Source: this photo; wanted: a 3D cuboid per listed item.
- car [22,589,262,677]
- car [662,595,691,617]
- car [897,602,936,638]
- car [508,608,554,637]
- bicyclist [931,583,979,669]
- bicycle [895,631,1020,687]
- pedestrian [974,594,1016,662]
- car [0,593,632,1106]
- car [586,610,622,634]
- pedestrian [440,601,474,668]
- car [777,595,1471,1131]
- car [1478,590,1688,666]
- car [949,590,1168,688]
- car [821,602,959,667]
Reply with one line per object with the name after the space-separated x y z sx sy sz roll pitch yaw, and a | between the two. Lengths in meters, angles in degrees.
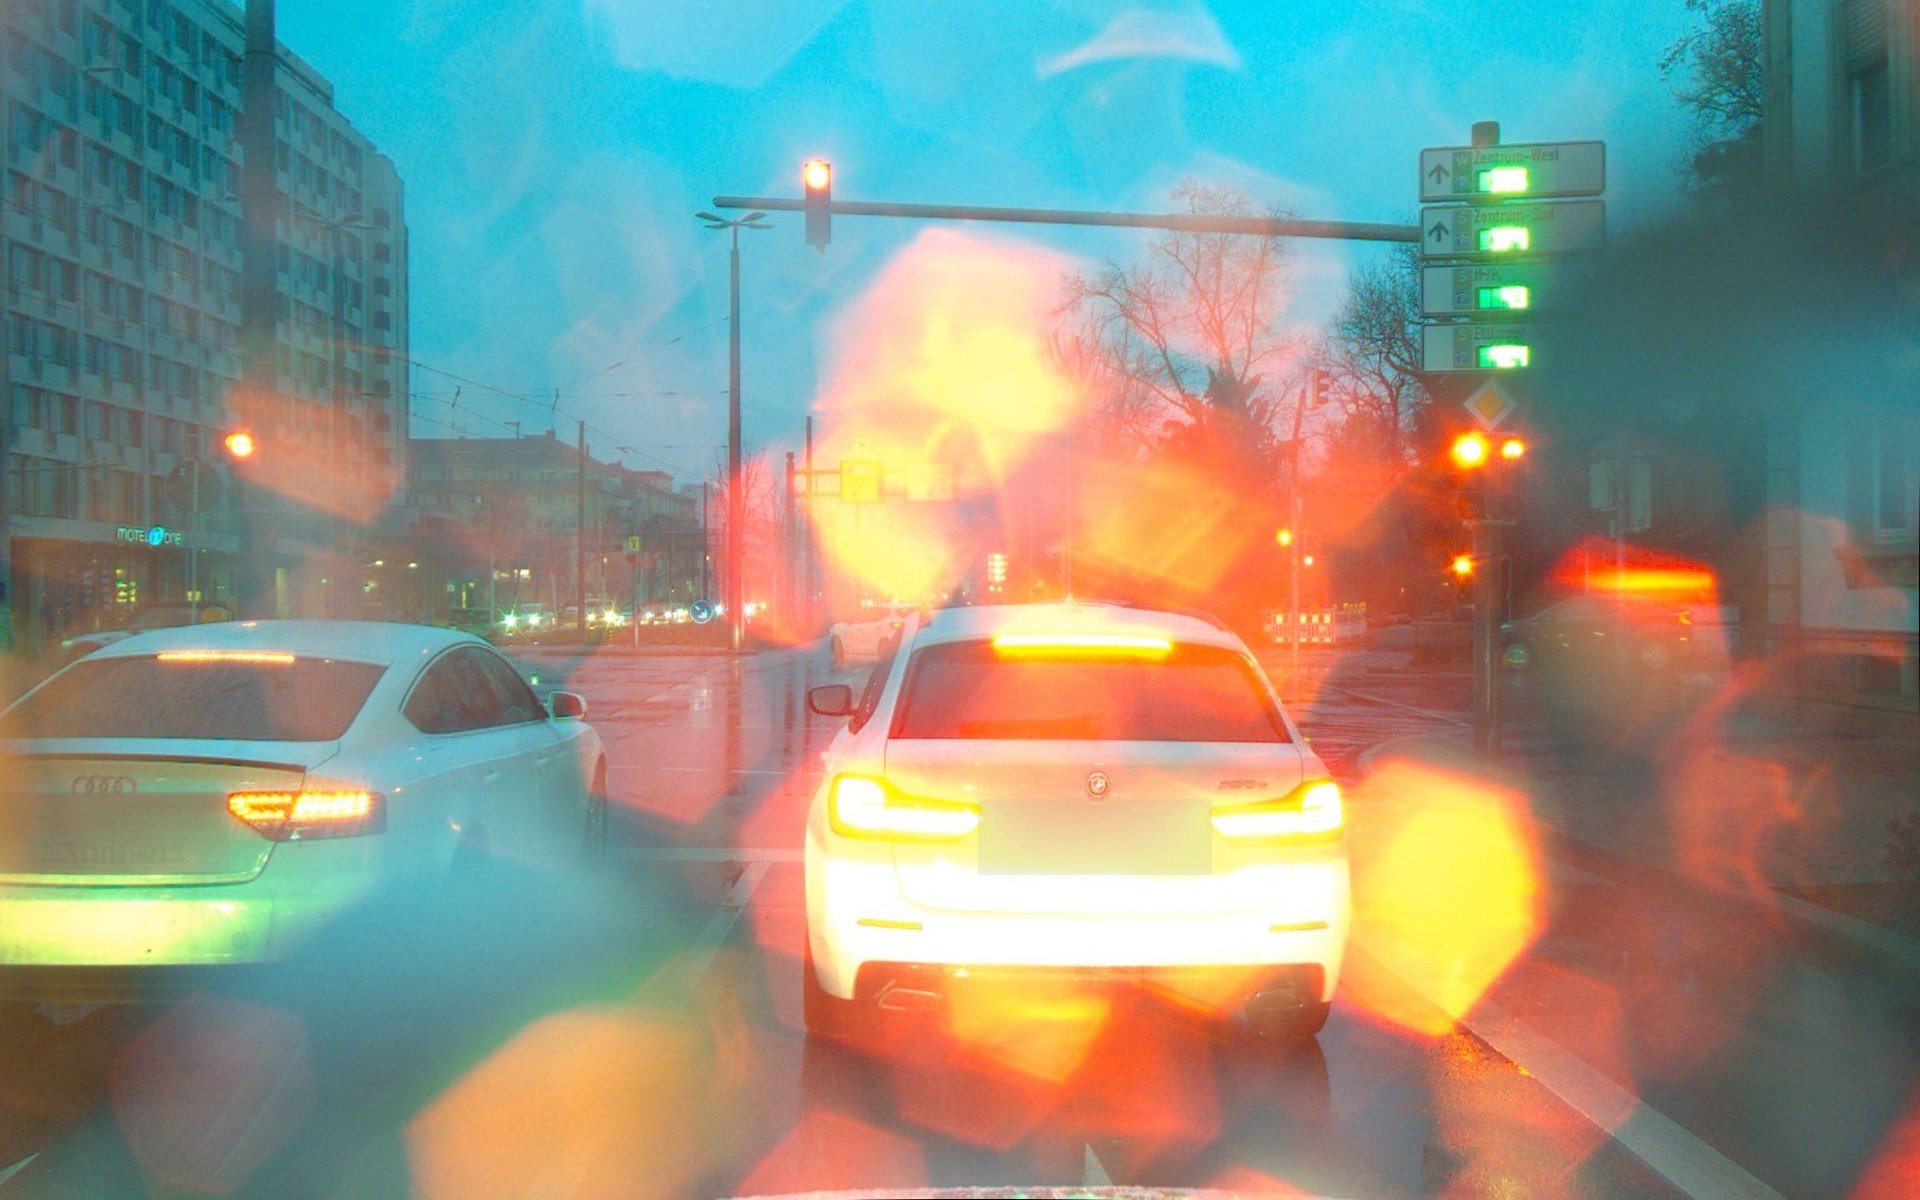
-15.033 0.608 30.576 3.623 1.504 1.623 2 -1 -13 | car
-21.337 0.460 124.569 1.641 1.534 3.695 1 -1 -1 | car
-2.116 0.975 79.978 1.806 1.637 3.943 1 -1 -2 | car
-24.036 1.279 92.715 1.641 1.534 3.695 1 -1 -1 | car
-0.102 0.562 35.495 0.952 1.789 0.813 1 -1 4 | bicyclist
-0.044 1.263 35.484 2.611 1.108 0.815 1 -1 3 | bicycle
0.982 0.785 46.291 0.884 1.888 0.812 1 -1 23 | pedestrian
-2.710 0.721 6.998 1.954 1.481 4.366 0 0 -3 | car
-24.329 1.516 113.077 1.641 1.534 3.695 1 -1 -1 | car
-13.421 0.915 44.144 0.777 1.741 0.809 2 -1 -16 | pedestrian
0.372 0.730 6.826 1.954 1.481 4.366 0 0 -3 | car
12.694 0.557 33.784 3.906 1.426 1.757 1 -1 22 | car
1.853 0.713 30.599 3.902 1.651 1.720 1 -1 7 | car
-1.865 0.867 42.864 1.729 1.581 3.919 2 -1 -35 | car
